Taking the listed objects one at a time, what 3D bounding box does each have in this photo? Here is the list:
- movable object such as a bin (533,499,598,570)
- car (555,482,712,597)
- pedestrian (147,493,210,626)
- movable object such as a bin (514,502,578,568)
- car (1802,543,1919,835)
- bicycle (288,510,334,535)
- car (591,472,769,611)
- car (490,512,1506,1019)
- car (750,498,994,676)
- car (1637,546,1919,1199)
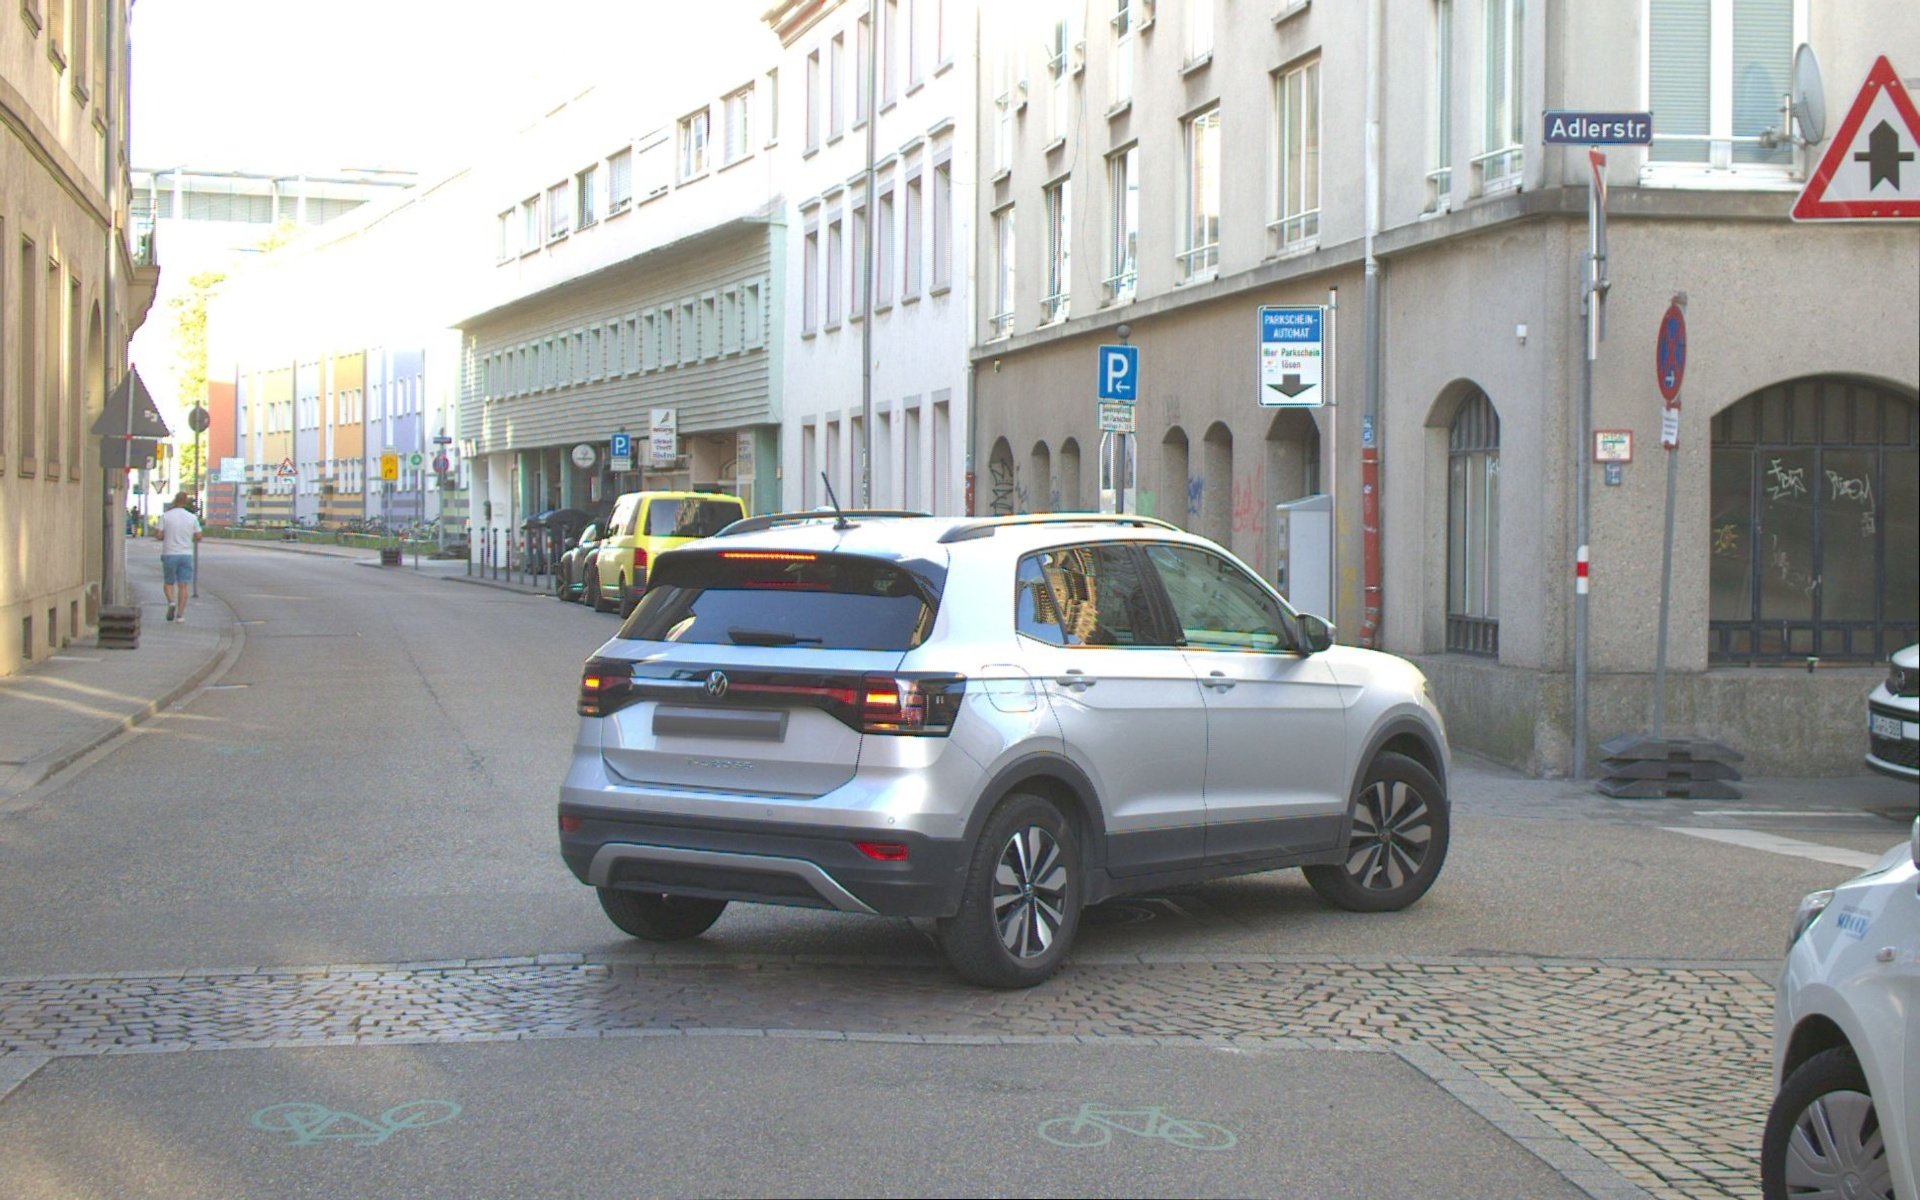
[{"bbox_3d":[-8.755,-1.456,76.269,1.131,1.552,1.740,0,2,-17],"label":"movable object such as a bin"},{"bbox_3d":[-5.543,-1.045,57.894,2.052,1.866,4.102,0,2,-14],"label":"car"},{"bbox_3d":[-10.174,-0.535,44.771,0.765,1.718,0.687,0,1,-15],"label":"pedestrian"},{"bbox_3d":[-9.388,-1.485,77.958,1.131,1.474,1.740,0,2,-17],"label":"movable object such as a bin"},{"bbox_3d":[7.166,0.497,19.538,4.215,1.547,1.902,1,1,-3],"label":"car"},{"bbox_3d":[-26.487,-3.147,140.313,1.780,0.997,0.547,0,1,-15],"label":"bicycle"},{"bbox_3d":[-4.290,-0.914,52.136,2.052,2.006,4.176,0,2,-14],"label":"car"},{"bbox_3d":[0.302,0.463,12.876,1.840,1.557,3.992,1,2,36],"label":"car"},{"bbox_3d":[-0.981,-0.181,35.751,1.967,1.686,4.102,2,2,-9],"label":"car"},{"bbox_3d":[2.734,0.704,5.997,1.888,1.513,4.064,1,1,-6],"label":"car"}]
